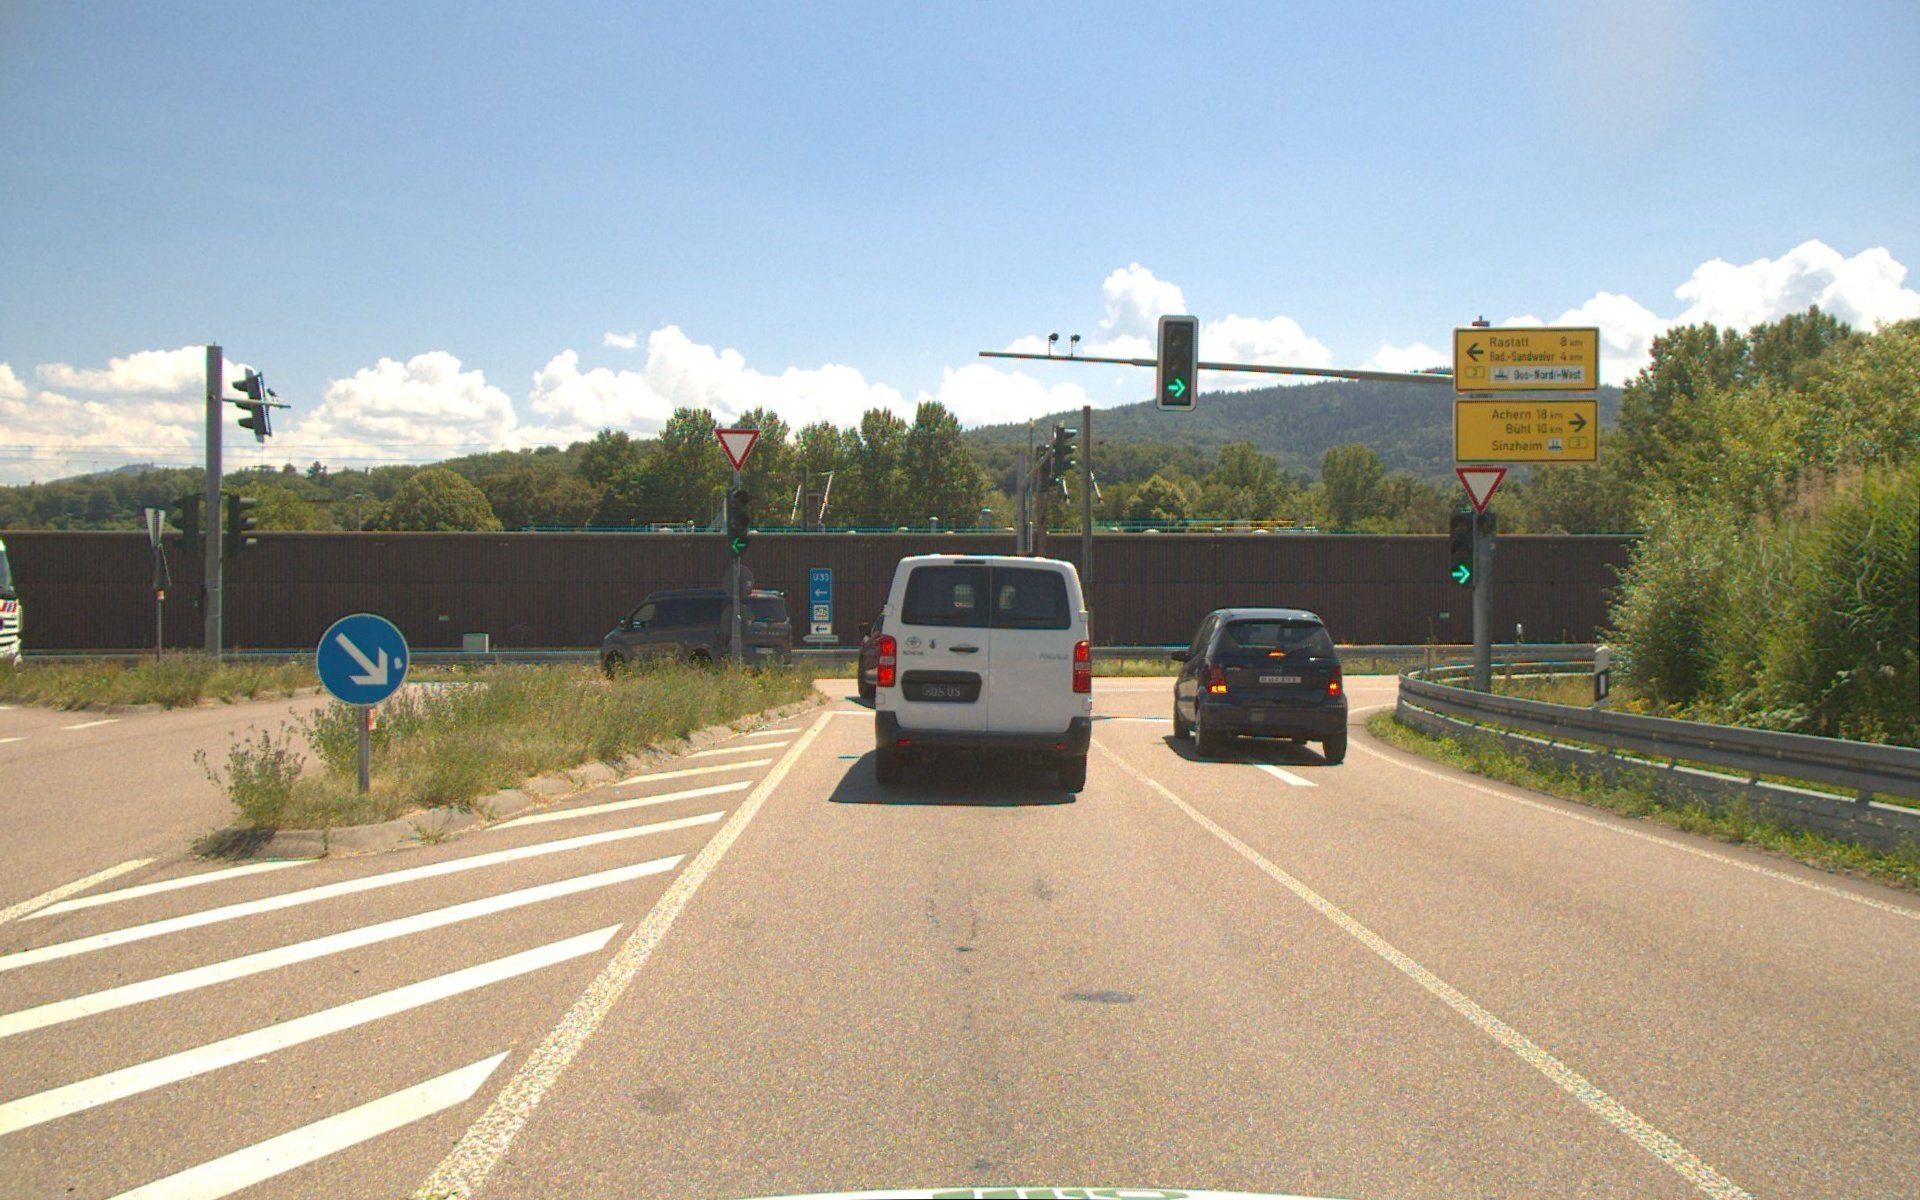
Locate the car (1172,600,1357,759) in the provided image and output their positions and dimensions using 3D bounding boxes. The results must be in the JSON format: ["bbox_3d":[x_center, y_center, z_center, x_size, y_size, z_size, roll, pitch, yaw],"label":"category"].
[{"bbox_3d":[3.447,0.851,19.275,1.633,1.628,3.555,2,0,3],"label":"car"}]

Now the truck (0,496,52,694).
[{"bbox_3d":[-22.379,-0.113,34.042,5.649,4.024,3.060,0,-1,-3],"label":"truck"}]

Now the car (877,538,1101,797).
[{"bbox_3d":[0.197,0.548,15.130,1.778,2.053,3.999,0,0,-1],"label":"car"}]

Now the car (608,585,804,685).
[{"bbox_3d":[-5.630,0.740,36.233,1.984,2.049,4.638,1,-1,-43],"label":"car"}]
